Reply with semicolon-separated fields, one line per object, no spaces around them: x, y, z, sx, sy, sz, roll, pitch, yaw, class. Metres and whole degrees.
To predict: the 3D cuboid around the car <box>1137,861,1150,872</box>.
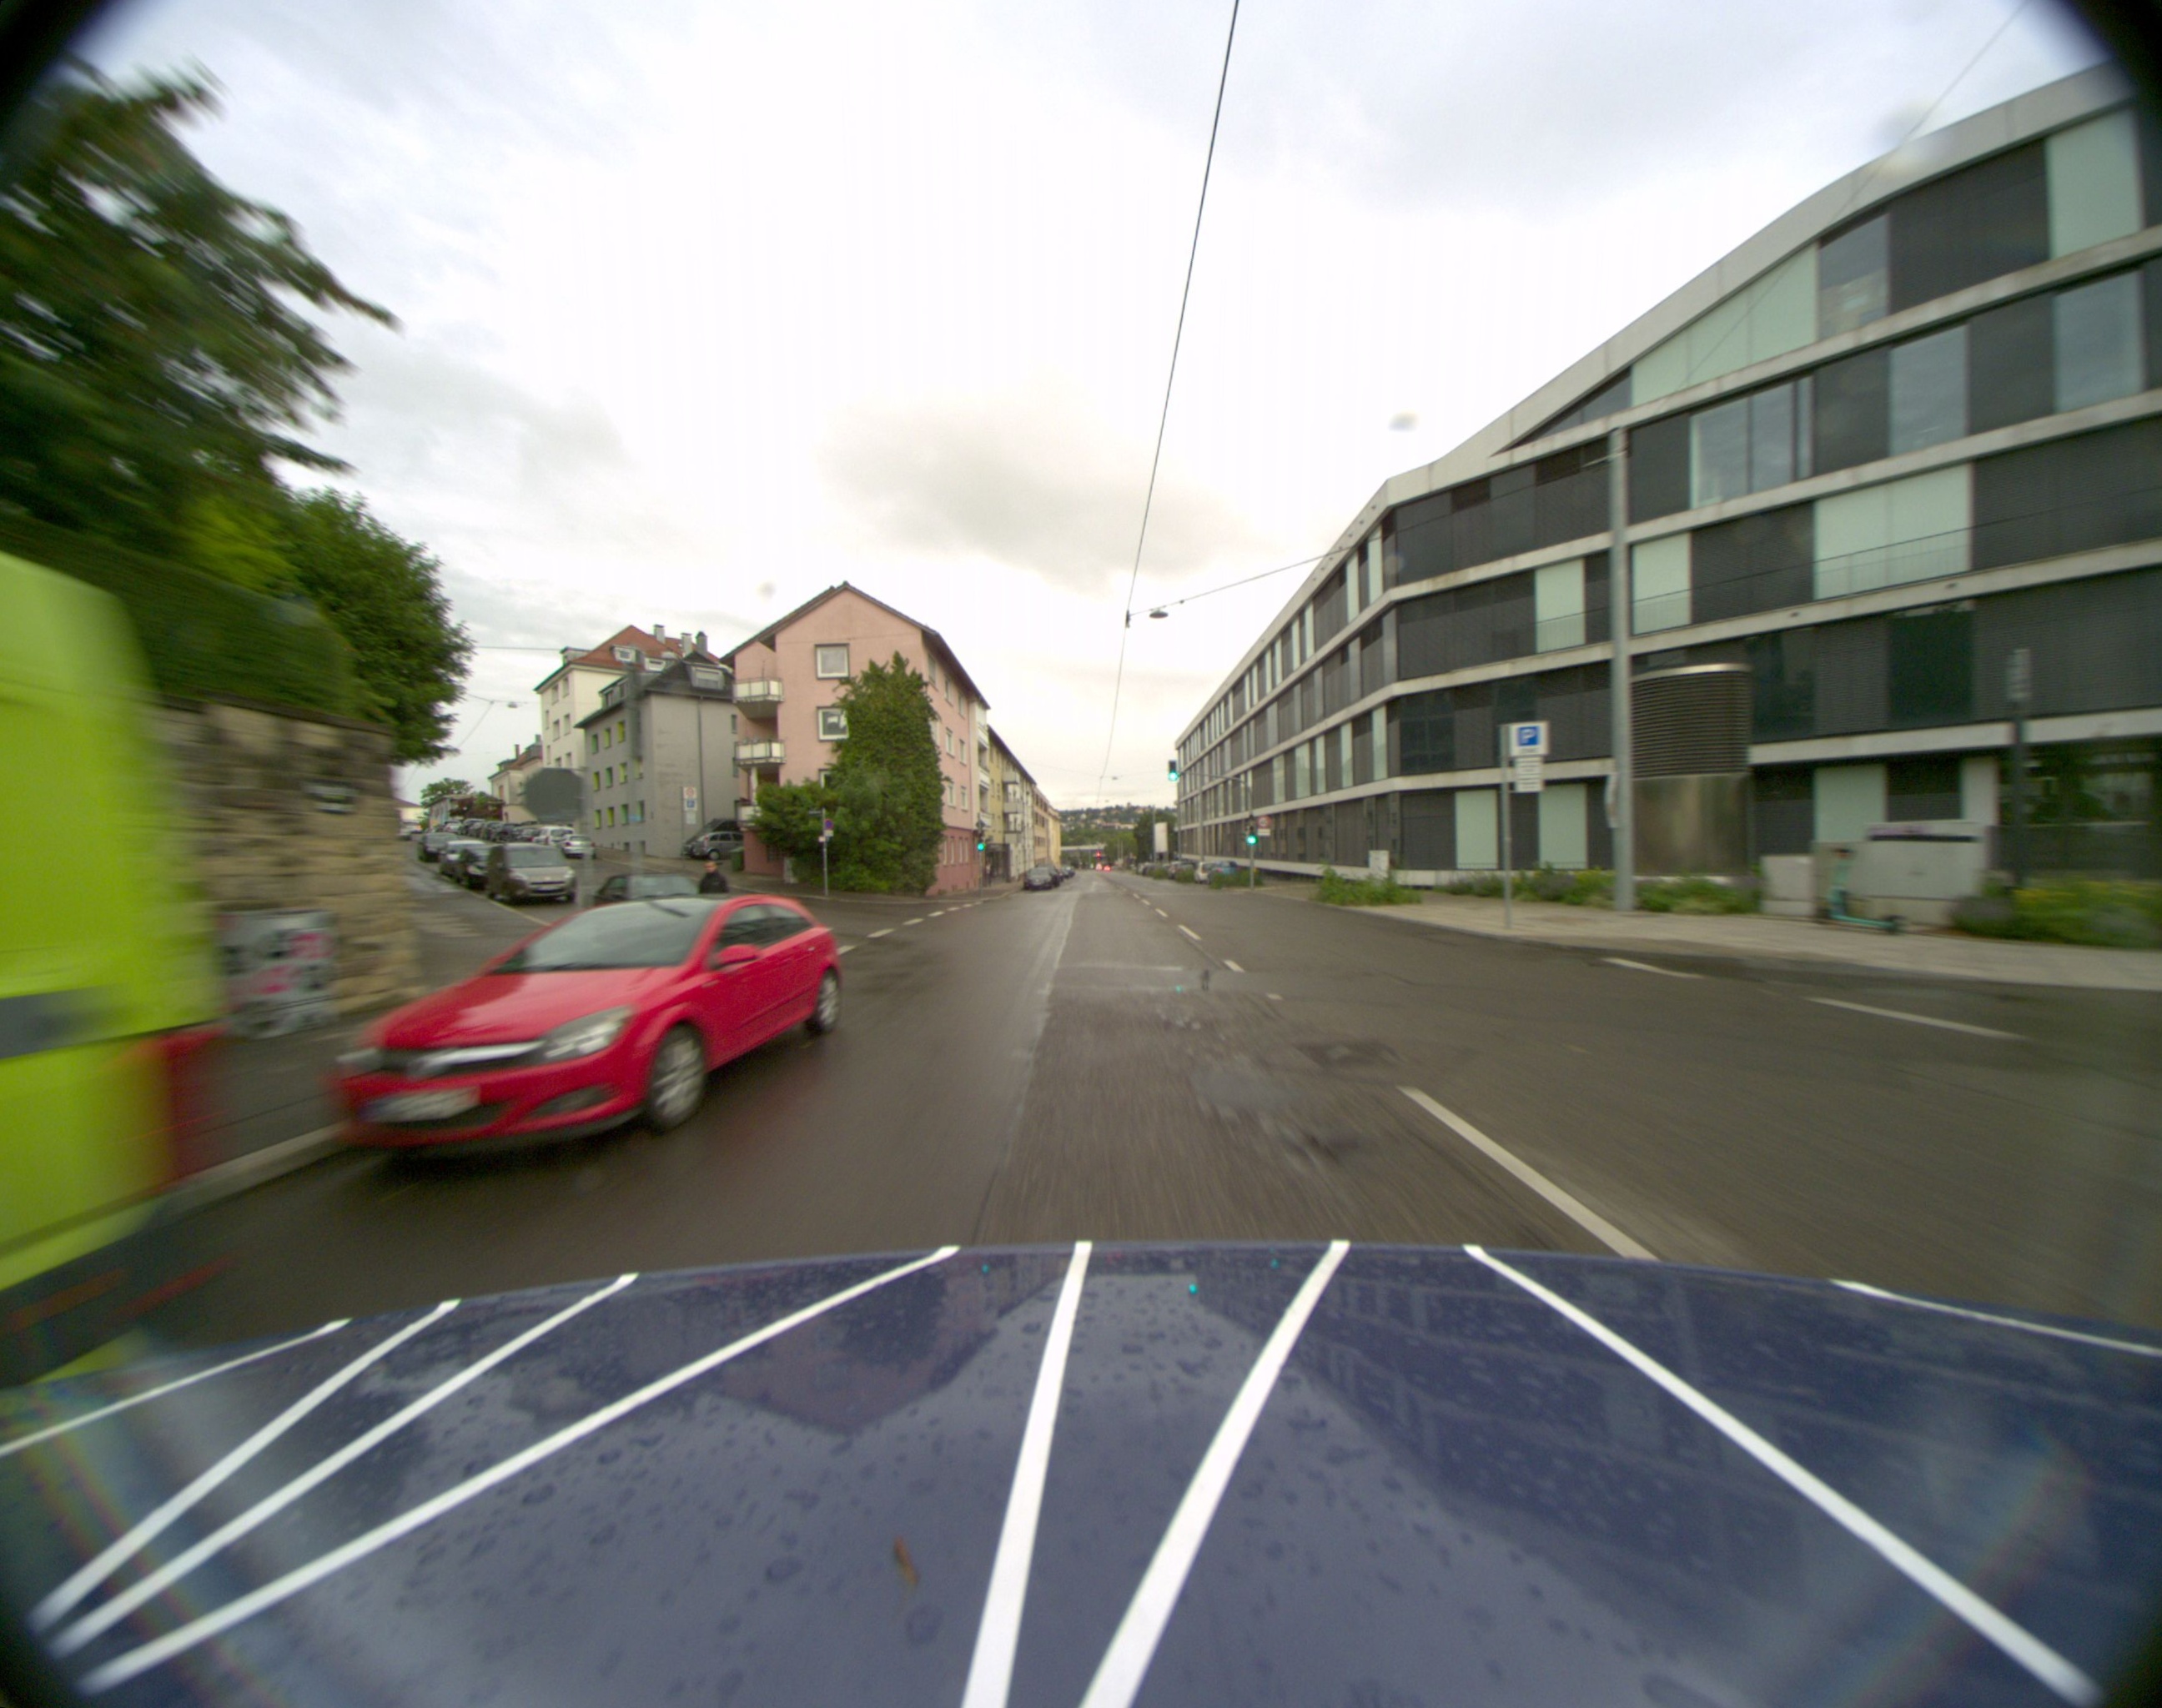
9.656;1.892;117.648;1.642;1.576;4.042;-2;-1;1;car

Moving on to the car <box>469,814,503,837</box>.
-54.165;-2.581;69.132;3.987;1.944;1.804;4;3;43;car

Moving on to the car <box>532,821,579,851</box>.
-34.030;-1.171;49.195;3.903;1.756;1.687;4;3;43;car

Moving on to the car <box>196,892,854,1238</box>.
-3.300;1.119;5.736;1.725;1.412;4.204;-3;0;2;car

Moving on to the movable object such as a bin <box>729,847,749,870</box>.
-17.274;0.220;38.394;0.758;1.151;0.749;0;3;-9;movable object such as a bin

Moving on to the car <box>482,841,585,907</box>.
-17.160;0.538;23.729;4.400;1.731;1.830;4;3;44;car

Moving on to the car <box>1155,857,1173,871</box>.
9.250;1.143;85.171;1.565;1.463;4.042;-2;-1;1;car

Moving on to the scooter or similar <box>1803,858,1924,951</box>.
11.406;0.704;11.122;0.497;1.241;1.231;-2;1;2;scooter or similar

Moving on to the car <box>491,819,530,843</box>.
-46.052;-1.870;61.338;3.987;1.688;1.804;4;3;43;car

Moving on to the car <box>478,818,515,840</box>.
-50.150;-2.132;65.175;3.987;1.688;1.804;4;3;43;car

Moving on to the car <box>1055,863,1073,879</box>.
-1.616;1.627;74.148;1.630;1.447;3.484;-1;-1;1;car

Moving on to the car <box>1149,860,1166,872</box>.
9.431;1.461;94.033;1.642;1.463;4.042;-2;-1;1;car

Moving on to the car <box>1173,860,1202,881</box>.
8.808;1.346;63.026;1.887;1.580;4.364;-3;-1;3;car

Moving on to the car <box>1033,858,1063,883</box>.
-2.414;1.236;57.132;1.968;1.763;4.513;1;-1;1;car

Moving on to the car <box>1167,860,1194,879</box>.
8.977;1.362;68.919;1.835;1.580;4.363;-3;-1;1;car

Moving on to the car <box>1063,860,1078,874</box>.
-1.538;1.904;110.648;1.911;1.865;4.751;-2;-1;1;car

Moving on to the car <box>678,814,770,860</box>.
-21.860;-1.043;46.610;4.605;2.578;2.328;-1;4;-44;car

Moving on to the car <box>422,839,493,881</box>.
-26.481;0.211;32.242;4.324;1.446;1.687;4;5;43;car

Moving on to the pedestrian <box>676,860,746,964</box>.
-6.294;0.964;12.965;0.725;1.705;0.905;0;0;2;pedestrian

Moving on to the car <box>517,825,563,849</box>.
-38.059;-1.187;53.431;3.987;1.502;1.804;4;3;43;car

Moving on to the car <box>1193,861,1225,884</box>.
8.744;1.239;52.131;1.641;1.458;3.584;-1;-1;2;car

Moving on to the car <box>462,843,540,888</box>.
-21.825;0.385;28.557;3.987;1.446;1.804;4;3;45;car

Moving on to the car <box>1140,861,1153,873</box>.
9.477;1.868;110.378;1.642;1.576;4.042;-2;-1;1;car

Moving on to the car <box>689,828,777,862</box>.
-20.389;-0.534;44.643;1.946;1.853;4.274;5;4;43;car

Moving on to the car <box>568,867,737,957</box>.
-8.801;1.061;15.439;4.265;1.385;1.756;2;2;43;car

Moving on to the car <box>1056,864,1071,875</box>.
-2.210;1.972;97.466;1.630;1.402;3.778;-2;-1;1;car

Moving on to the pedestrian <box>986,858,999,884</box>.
-6.066;1.166;52.129;0.715;1.763;0.748;1;0;1;pedestrian

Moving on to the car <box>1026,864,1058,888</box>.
-2.602;1.444;51.410;1.796;1.510;4.513;-1;-1;1;car

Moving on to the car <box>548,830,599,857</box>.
-30.681;-0.661;45.912;3.903;1.446;1.687;4;3;43;car

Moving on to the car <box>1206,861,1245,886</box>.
8.939;1.195;47.141;1.641;1.458;3.584;-1;-1;-1;car
